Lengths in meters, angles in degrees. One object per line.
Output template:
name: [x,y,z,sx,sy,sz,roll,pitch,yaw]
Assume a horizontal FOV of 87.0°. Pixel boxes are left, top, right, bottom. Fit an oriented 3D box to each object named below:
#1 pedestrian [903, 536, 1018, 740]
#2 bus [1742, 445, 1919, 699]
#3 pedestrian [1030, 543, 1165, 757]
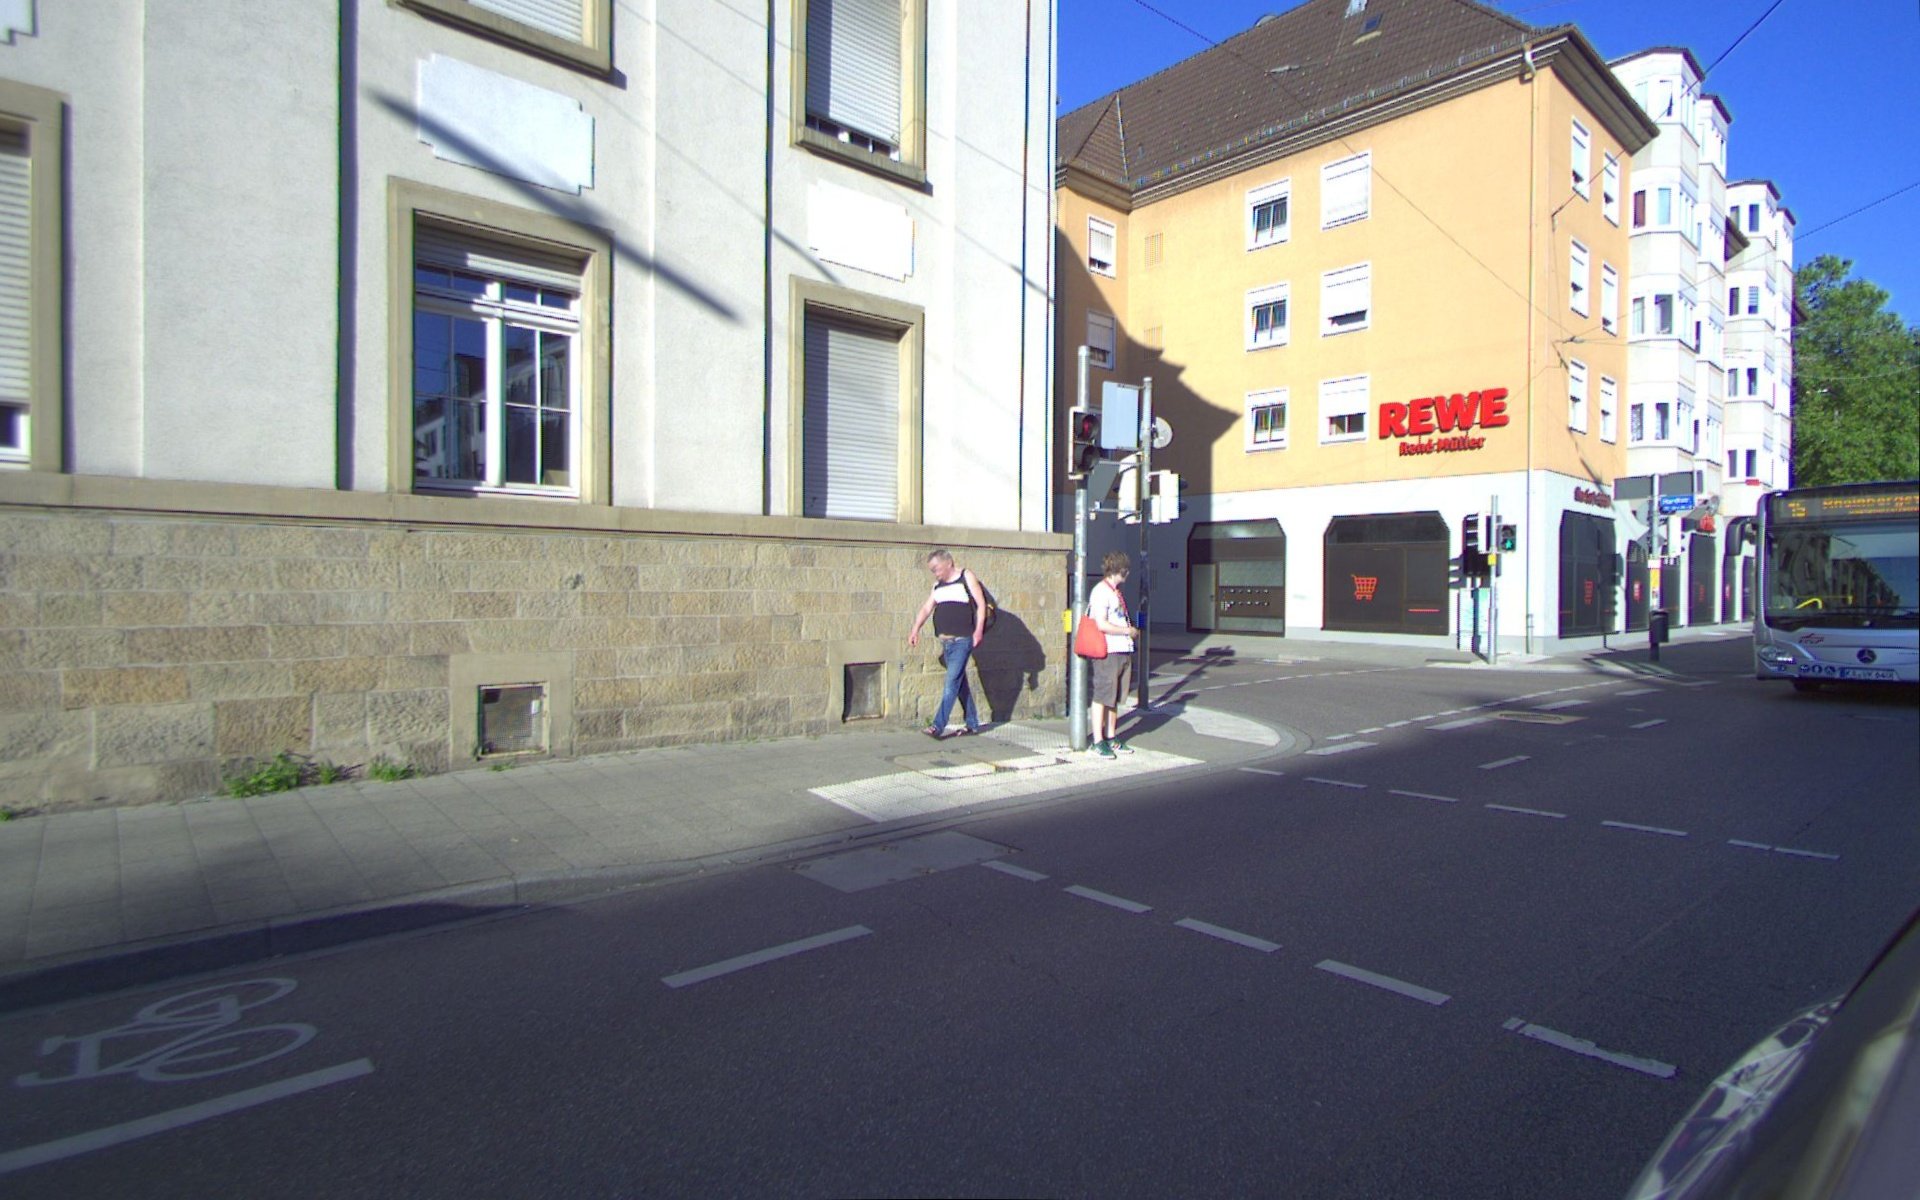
pedestrian: [0.006,0.323,9.319,0.811,1.780,0.630,-1,0,-41]
bus: [18.424,-0.492,18.692,17.430,3.189,2.771,-1,1,-40]
pedestrian: [1.218,0.395,9.011,0.809,1.783,0.837,-1,3,-41]
